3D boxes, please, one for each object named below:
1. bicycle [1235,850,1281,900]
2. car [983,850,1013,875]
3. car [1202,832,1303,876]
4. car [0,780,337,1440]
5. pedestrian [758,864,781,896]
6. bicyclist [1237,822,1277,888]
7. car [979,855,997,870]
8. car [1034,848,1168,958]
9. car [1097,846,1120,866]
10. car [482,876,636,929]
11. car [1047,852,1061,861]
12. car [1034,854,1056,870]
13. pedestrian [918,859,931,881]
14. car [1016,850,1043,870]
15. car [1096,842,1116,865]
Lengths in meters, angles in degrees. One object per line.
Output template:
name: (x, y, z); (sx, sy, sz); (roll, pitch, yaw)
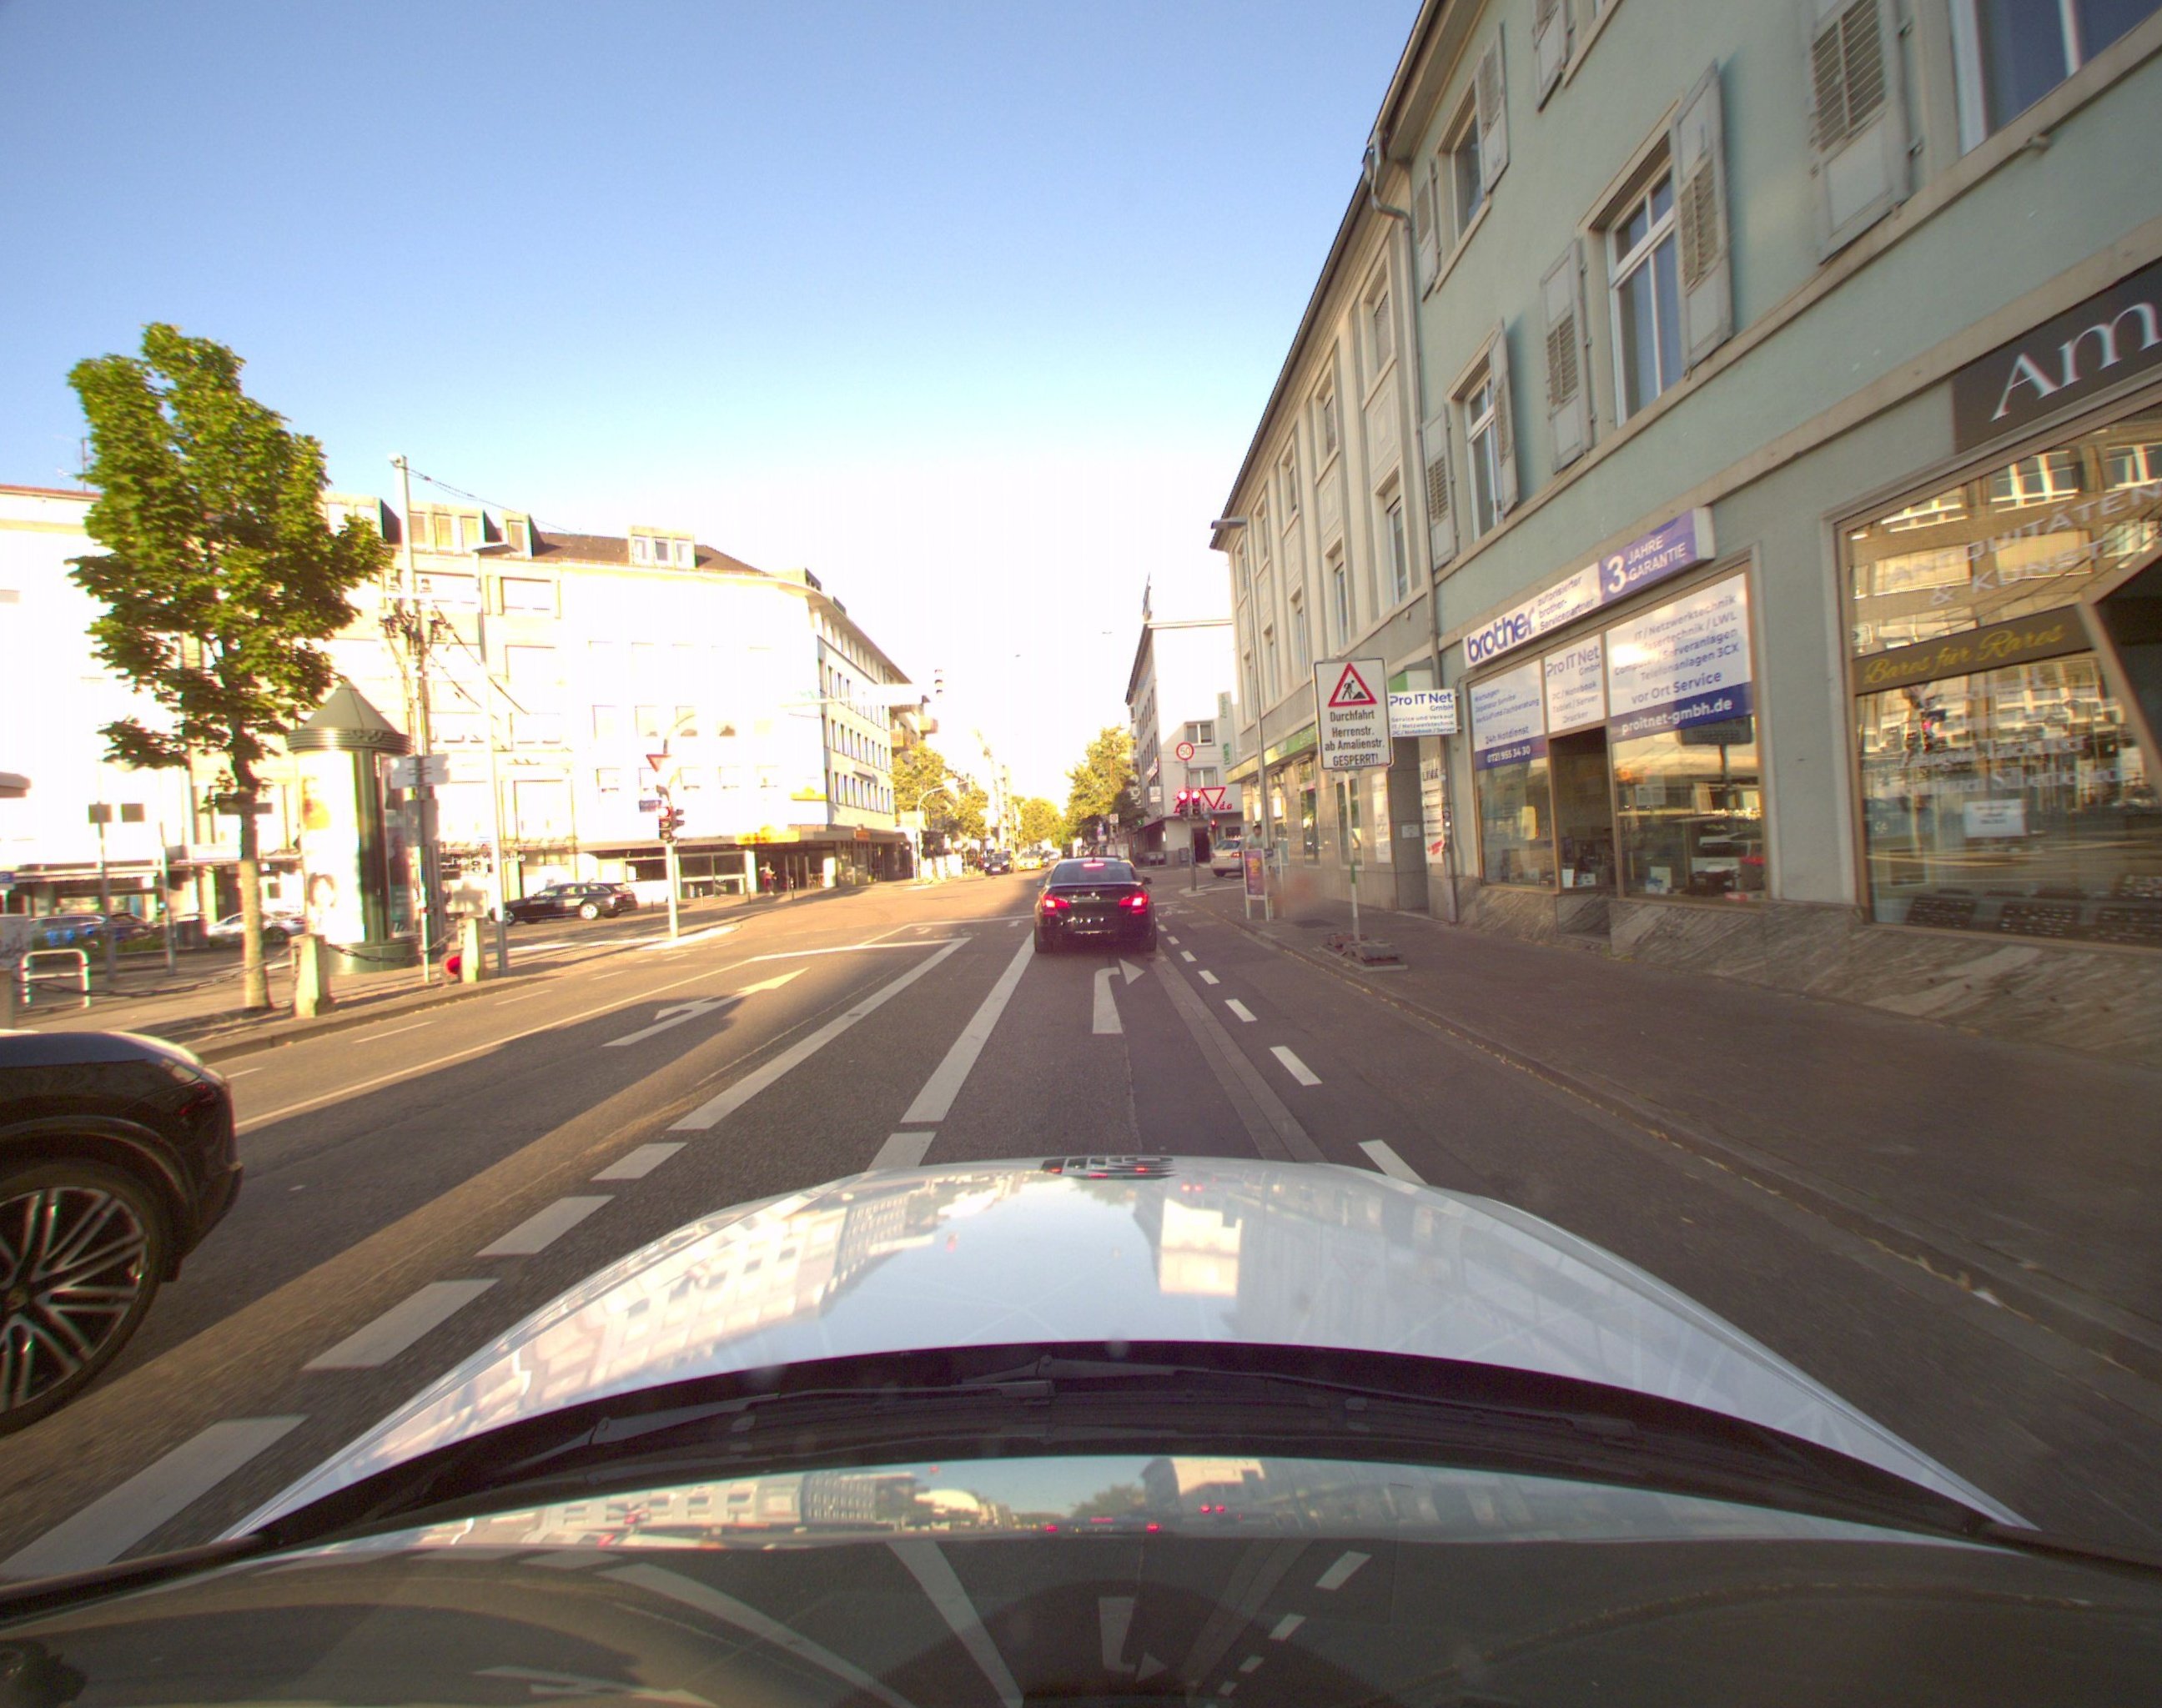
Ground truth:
bicycle: (4.282, 0.483, 19.832); (0.688, 1.107, 1.896); (-4, 0, 1)
car: (-6.074, 0.613, 59.968); (1.991, 1.618, 3.992); (-4, 0, -5)
car: (7.067, -0.015, 33.373); (4.122, 1.575, 1.817); (-4, 1, -40)
car: (-3.845, 0.742, 0.745); (1.942, 1.714, 4.563); (-4, 0, 1)
pedestrian: (-15.678, 1.294, 41.012); (0.950, 1.537, 0.901); (-4, 0, -24)
bicyclist: (4.263, 0.020, 19.794); (0.719, 1.507, 0.900); (-4, 0, 1)
car: (-9.882, 0.855, 86.864); (1.731, 1.461, 3.992); (-3, 0, -5)
car: (0.264, 0.688, 13.870); (1.898, 1.540, 4.448); (-1, 0, -1)
car: (2.075, 0.151, 62.206); (1.620, 1.471, 3.394); (-3, 0, 0)
car: (-19.573, 1.791, 30.711); (4.429, 1.595, 1.875); (-3, 0, -6)
car: (-4.085, 0.352, 123.195); (1.731, 1.293, 3.992); (-4, 0, -5)
car: (-3.236, 0.672, 72.161); (1.731, 1.293, 3.992); (-4, 0, -5)
pedestrian: (-12.690, 1.271, 65.965); (0.821, 1.676, 0.871); (-4, 0, -1)
car: (-4.198, 0.468, 65.400); (1.991, 1.442, 3.992); (-4, 0, -5)
car: (2.071, -0.040, 68.610); (1.418, 1.854, 3.049); (-3, 0, -3)
